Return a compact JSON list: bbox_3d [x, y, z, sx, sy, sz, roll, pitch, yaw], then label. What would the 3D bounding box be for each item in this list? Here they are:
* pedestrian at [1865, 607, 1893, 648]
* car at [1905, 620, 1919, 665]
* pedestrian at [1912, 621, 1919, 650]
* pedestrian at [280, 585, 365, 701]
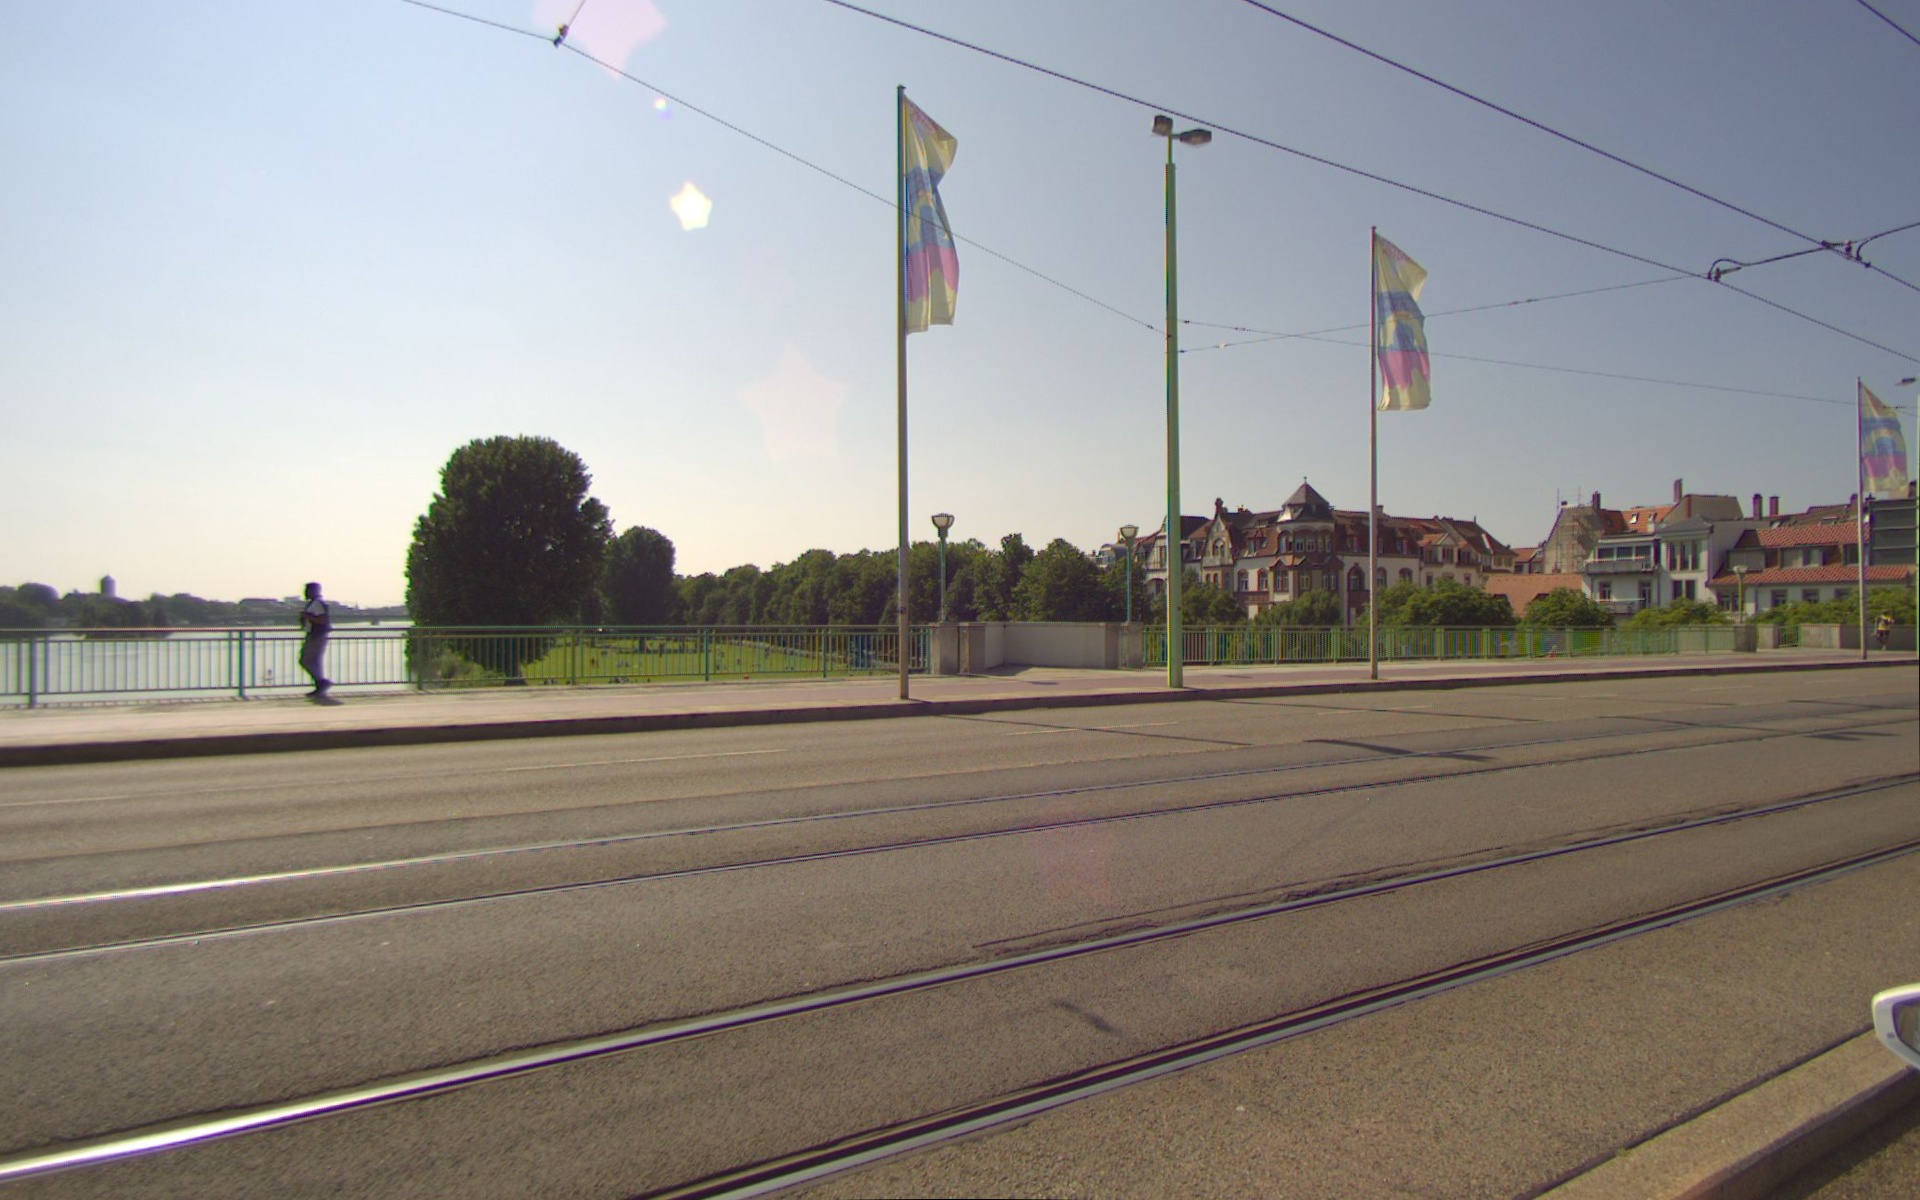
[{"bbox_3d":[41.184,1.240,45.013,0.655,1.810,0.760,0,0,-27],"label":"pedestrian"},{"bbox_3d":[34.286,1.430,34.317,3.955,1.499,1.983,0,0,-32],"label":"car"},{"bbox_3d":[45.530,1.683,47.509,0.536,1.322,0.570,0,0,-27],"label":"pedestrian"},{"bbox_3d":[-9.953,0.655,15.723,1.081,1.745,0.826,0,0,-30],"label":"pedestrian"}]
